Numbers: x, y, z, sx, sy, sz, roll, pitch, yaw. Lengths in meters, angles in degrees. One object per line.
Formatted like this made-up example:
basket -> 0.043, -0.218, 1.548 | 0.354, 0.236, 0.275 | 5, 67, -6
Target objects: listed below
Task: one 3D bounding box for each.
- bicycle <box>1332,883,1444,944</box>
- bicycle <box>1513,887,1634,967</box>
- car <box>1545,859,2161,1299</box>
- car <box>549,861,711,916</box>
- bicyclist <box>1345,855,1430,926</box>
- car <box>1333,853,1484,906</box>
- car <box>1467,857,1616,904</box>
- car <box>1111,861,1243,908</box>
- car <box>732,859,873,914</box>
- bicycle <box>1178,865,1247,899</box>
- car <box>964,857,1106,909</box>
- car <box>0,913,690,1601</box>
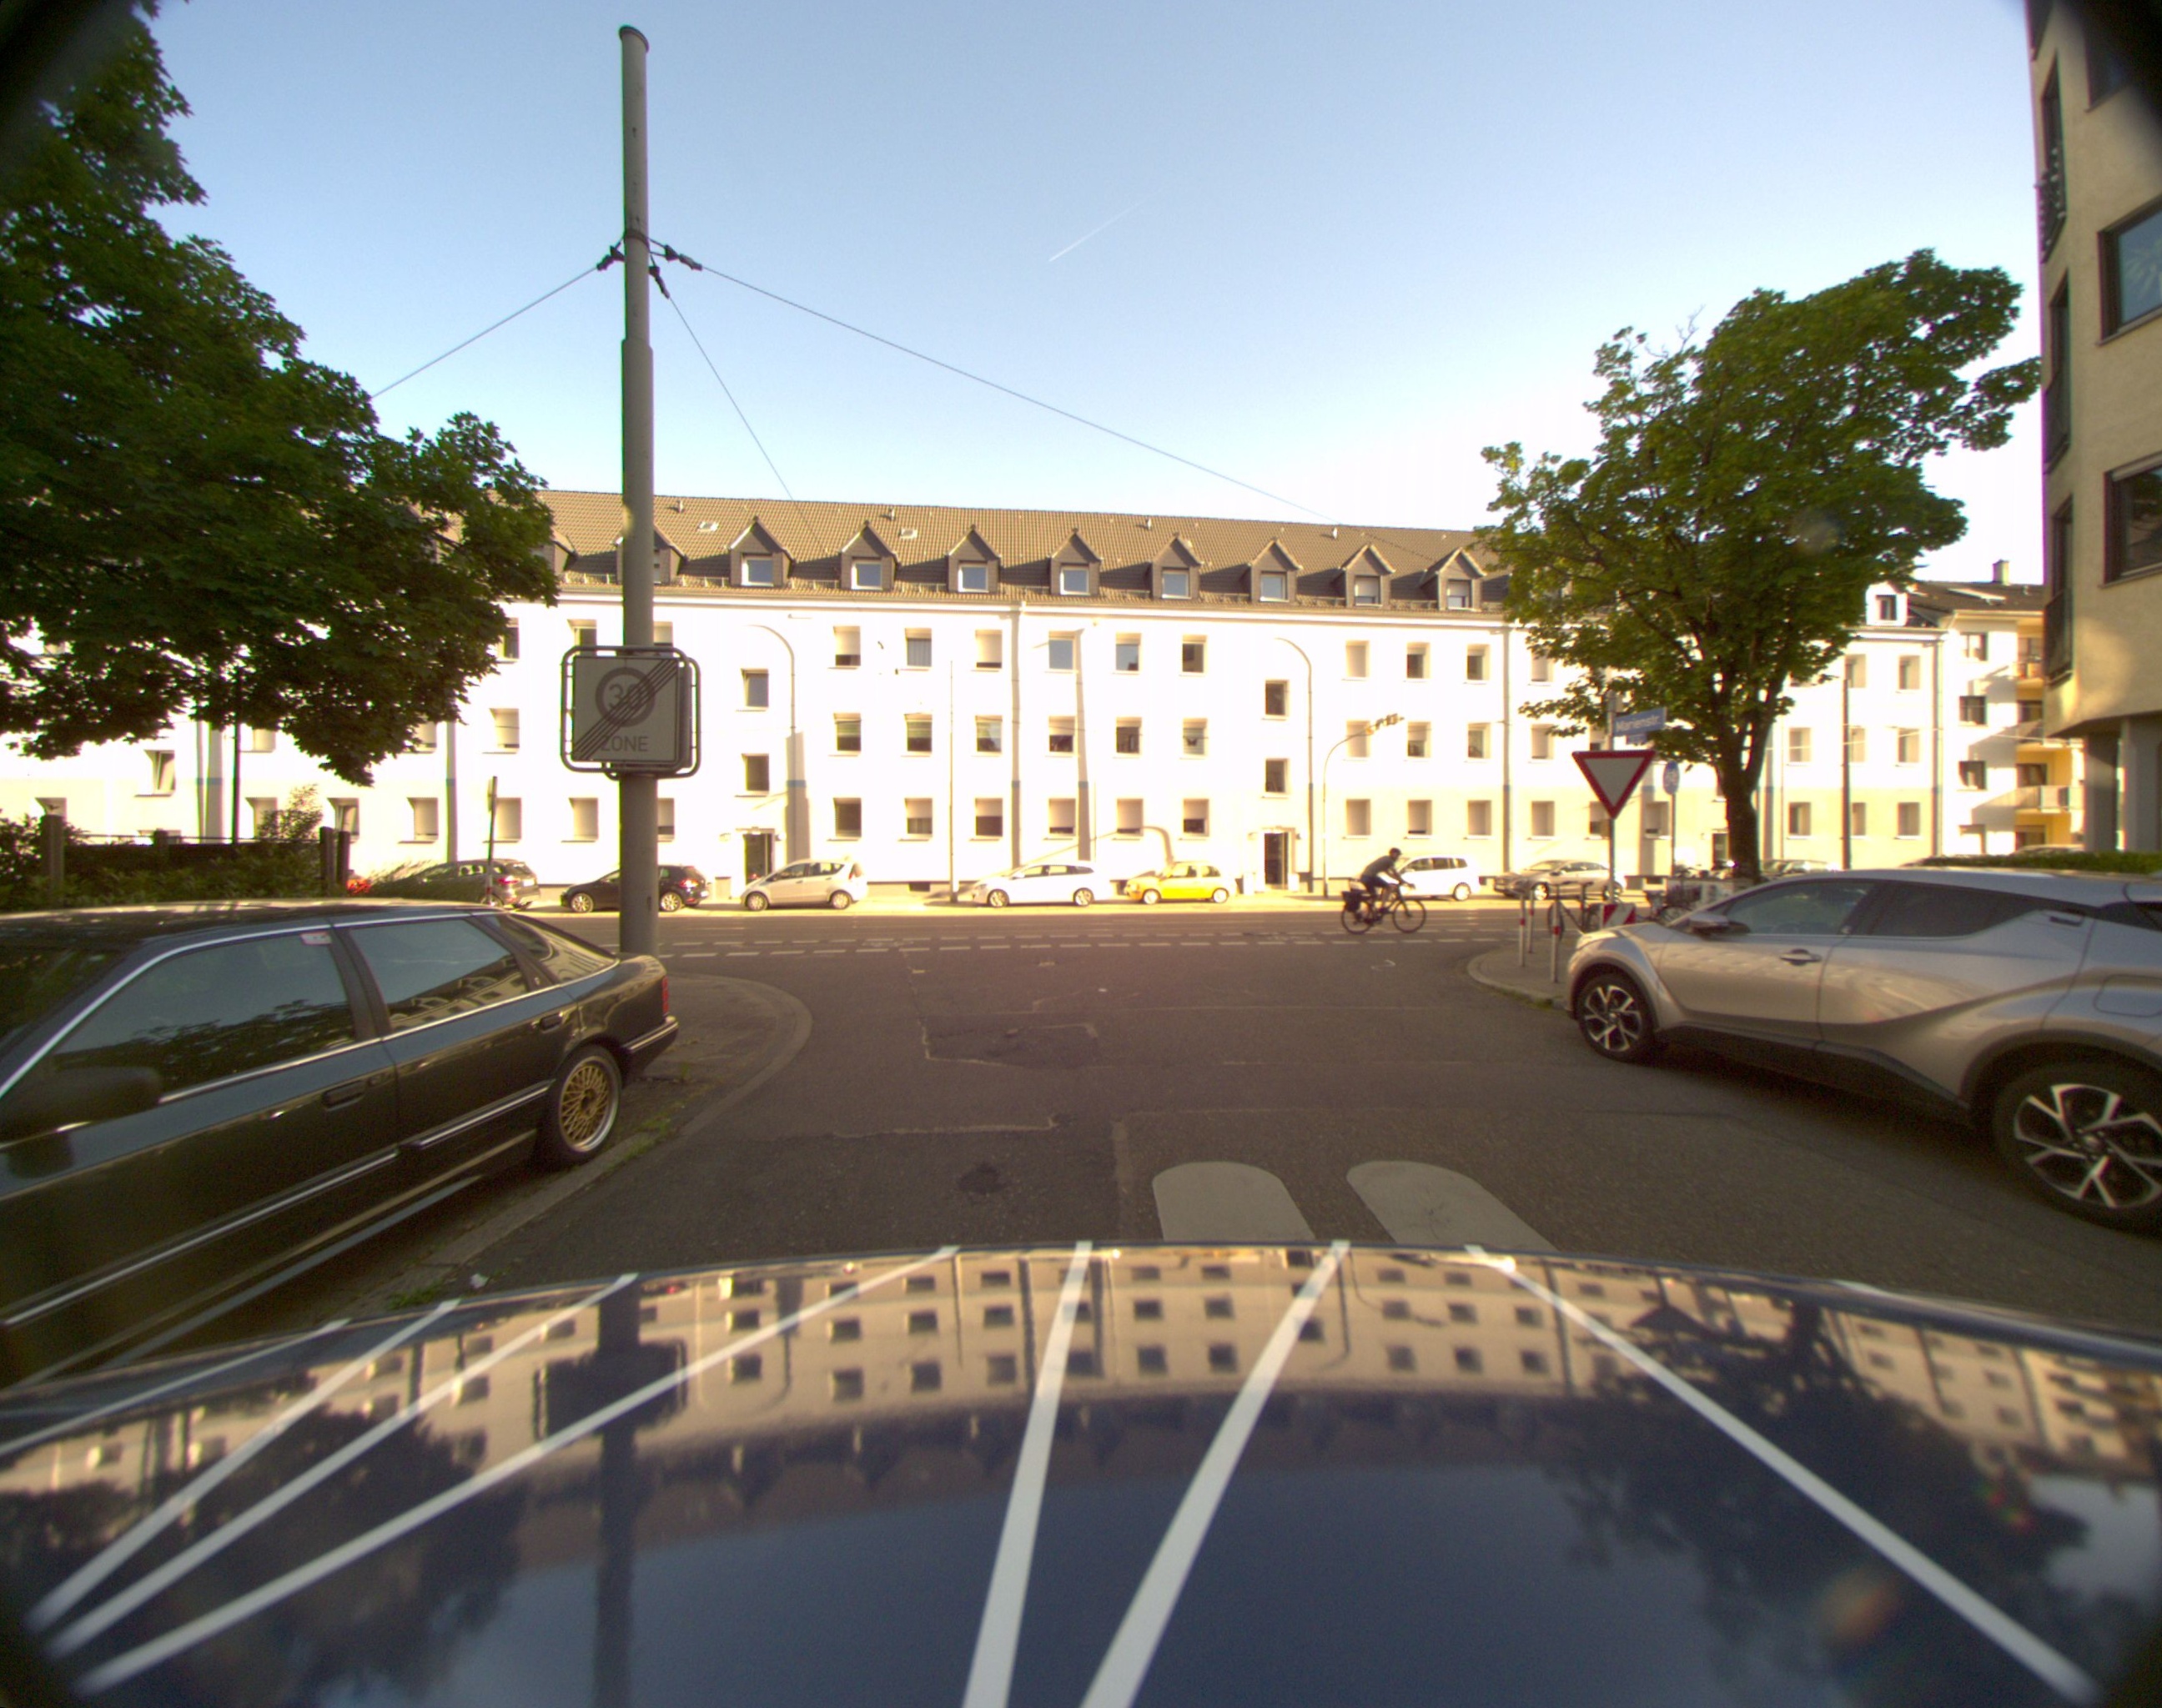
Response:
bicycle -> 5.962, 1.135, 14.785 | 1.960, 1.095, 0.624 | 0, 2, -7
bicycle -> 7.810, 1.119, 12.159 | 0.595, 1.078, 1.882 | 0, 0, -4
car -> 5.047, 0.914, 4.484 | 1.909, 1.650, 3.998 | 2, 0, -5
car -> -13.998, 1.041, 23.776 | 4.006, 1.529, 1.595 | 0, 3, -7
bicyclist -> 5.941, 0.678, 14.796 | 1.095, 1.323, 1.186 | 0, 1, -8
car -> 11.472, 0.847, 26.718 | 4.626, 1.657, 1.758 | 0, 4, -9
car -> 16.655, 0.926, 27.619 | 4.365, 1.546, 1.868 | 0, 2, -5
car -> 3.222, 0.998, 25.799 | 4.201, 1.423, 1.517 | -1, 2, -7
car -> -8.836, 1.007, 24.396 | 3.903, 1.563, 1.758 | 0, 4, -5
bicycle -> 4.875, 1.027, 28.327 | 2.327, 1.190, 1.098 | 0, 1, -8
car -> -1.535, 0.923, 25.144 | 4.508, 1.562, 1.683 | 0, 2, -6
car -> -3.371, 1.055, 2.497 | 1.712, 1.380, 4.571 | 2, -1, 1
